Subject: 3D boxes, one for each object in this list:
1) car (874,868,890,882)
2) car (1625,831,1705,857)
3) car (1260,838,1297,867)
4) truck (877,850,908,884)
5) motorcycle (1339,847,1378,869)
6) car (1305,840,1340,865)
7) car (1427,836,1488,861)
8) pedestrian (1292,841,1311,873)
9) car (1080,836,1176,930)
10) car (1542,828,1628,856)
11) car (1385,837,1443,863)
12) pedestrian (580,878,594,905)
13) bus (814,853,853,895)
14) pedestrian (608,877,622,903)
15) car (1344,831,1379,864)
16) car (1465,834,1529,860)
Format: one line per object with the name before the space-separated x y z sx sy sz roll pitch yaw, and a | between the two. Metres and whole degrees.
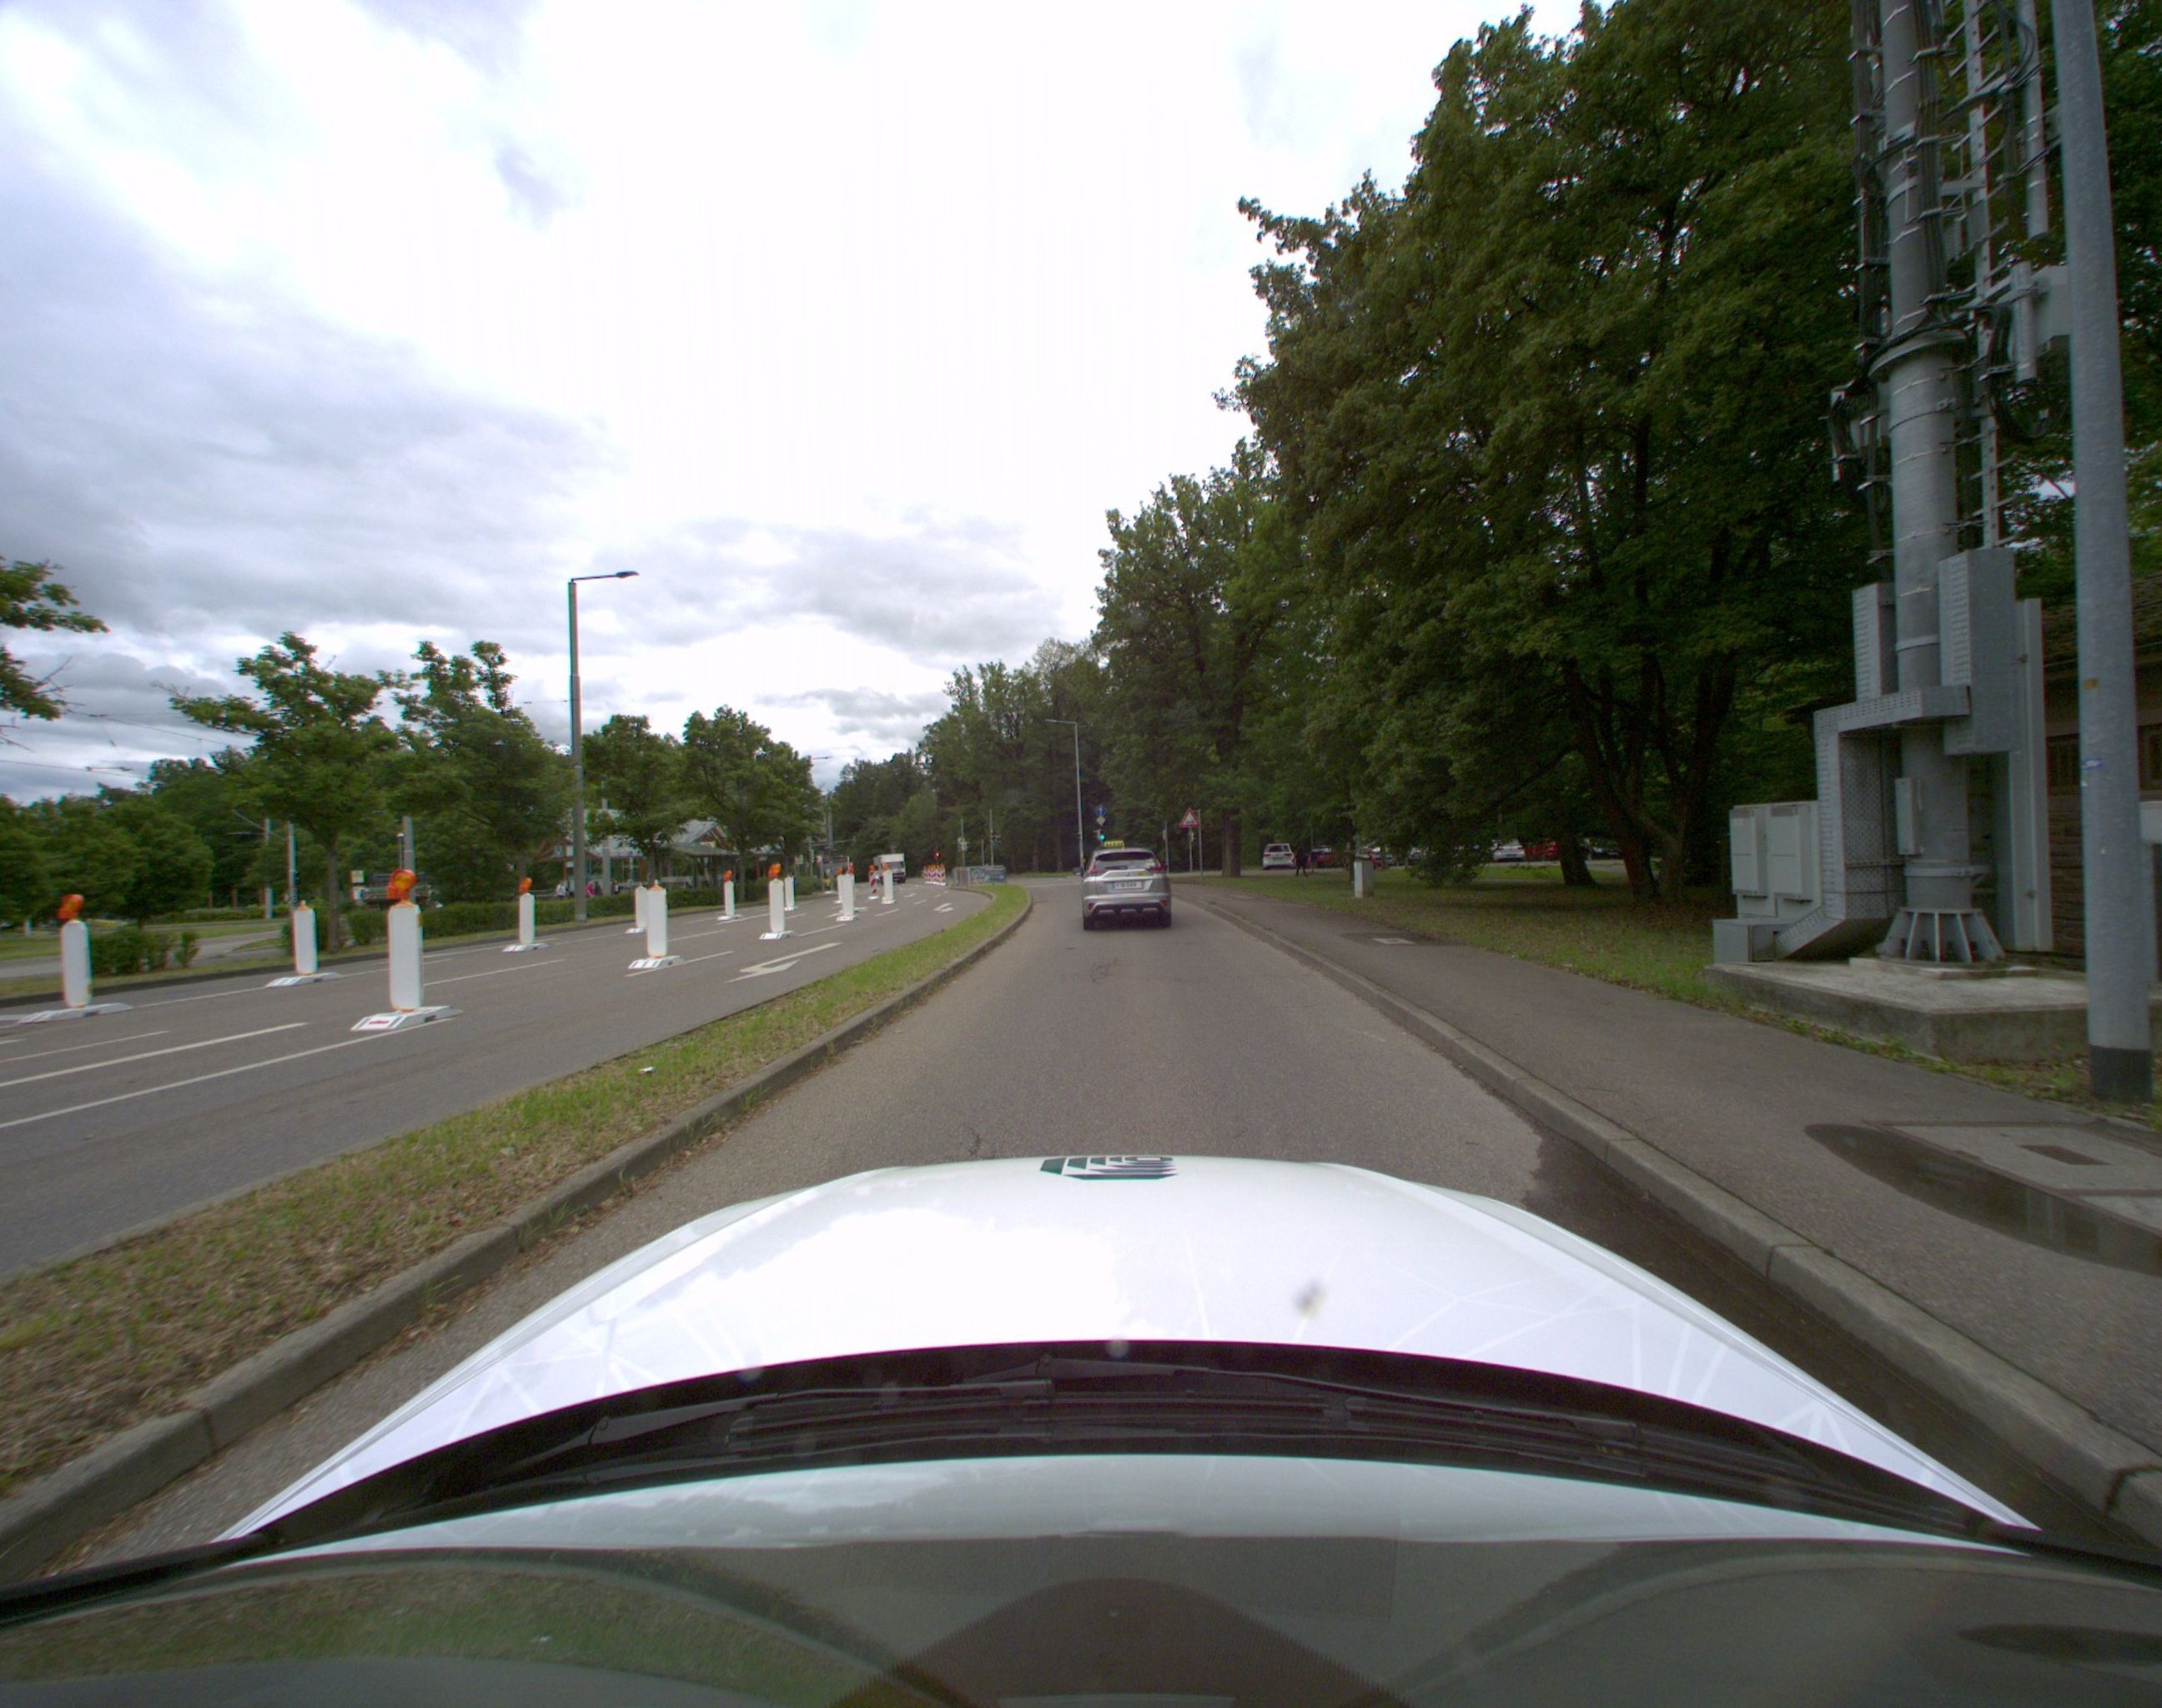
car | -23.974 2.498 97.982 1.561 1.528 3.801 -3 0 -19
car | 32.497 -0.553 45.442 1.552 1.325 3.822 -3 0 -3
car | 11.848 -0.117 48.650 1.819 1.536 4.019 -3 0 18
truck | -20.199 1.391 86.962 2.490 3.286 8.468 -3 0 -17
motorcycle | 14.496 0.200 42.547 1.815 1.057 0.617 -2 0 12
car | 14.325 -0.107 48.253 1.819 1.325 4.019 -3 0 18
car | 21.634 -0.303 46.973 1.552 1.325 3.822 -3 0 -3
pedestrian | 10.765 0.130 39.743 0.834 1.506 0.794 -3 0 17
car | 0.899 0.580 17.541 1.768 1.748 3.779 -2 -1 -1
car | 27.765 -0.632 44.885 3.805 1.325 1.559 -3 0 -3
car | 19.264 -0.225 47.270 1.552 1.325 3.996 -3 0 -3
pedestrian | -29.990 2.282 49.389 0.554 1.625 0.495 -2 0 37
bus | -24.197 1.857 79.146 2.832 3.603 12.716 -3 0 -20
pedestrian | -28.939 2.234 50.564 0.554 1.625 0.495 -2 0 37
car | 16.562 -0.412 48.194 1.819 1.762 4.019 -3 0 18
car | 23.790 -0.392 46.762 1.552 1.325 3.822 -3 0 -3
